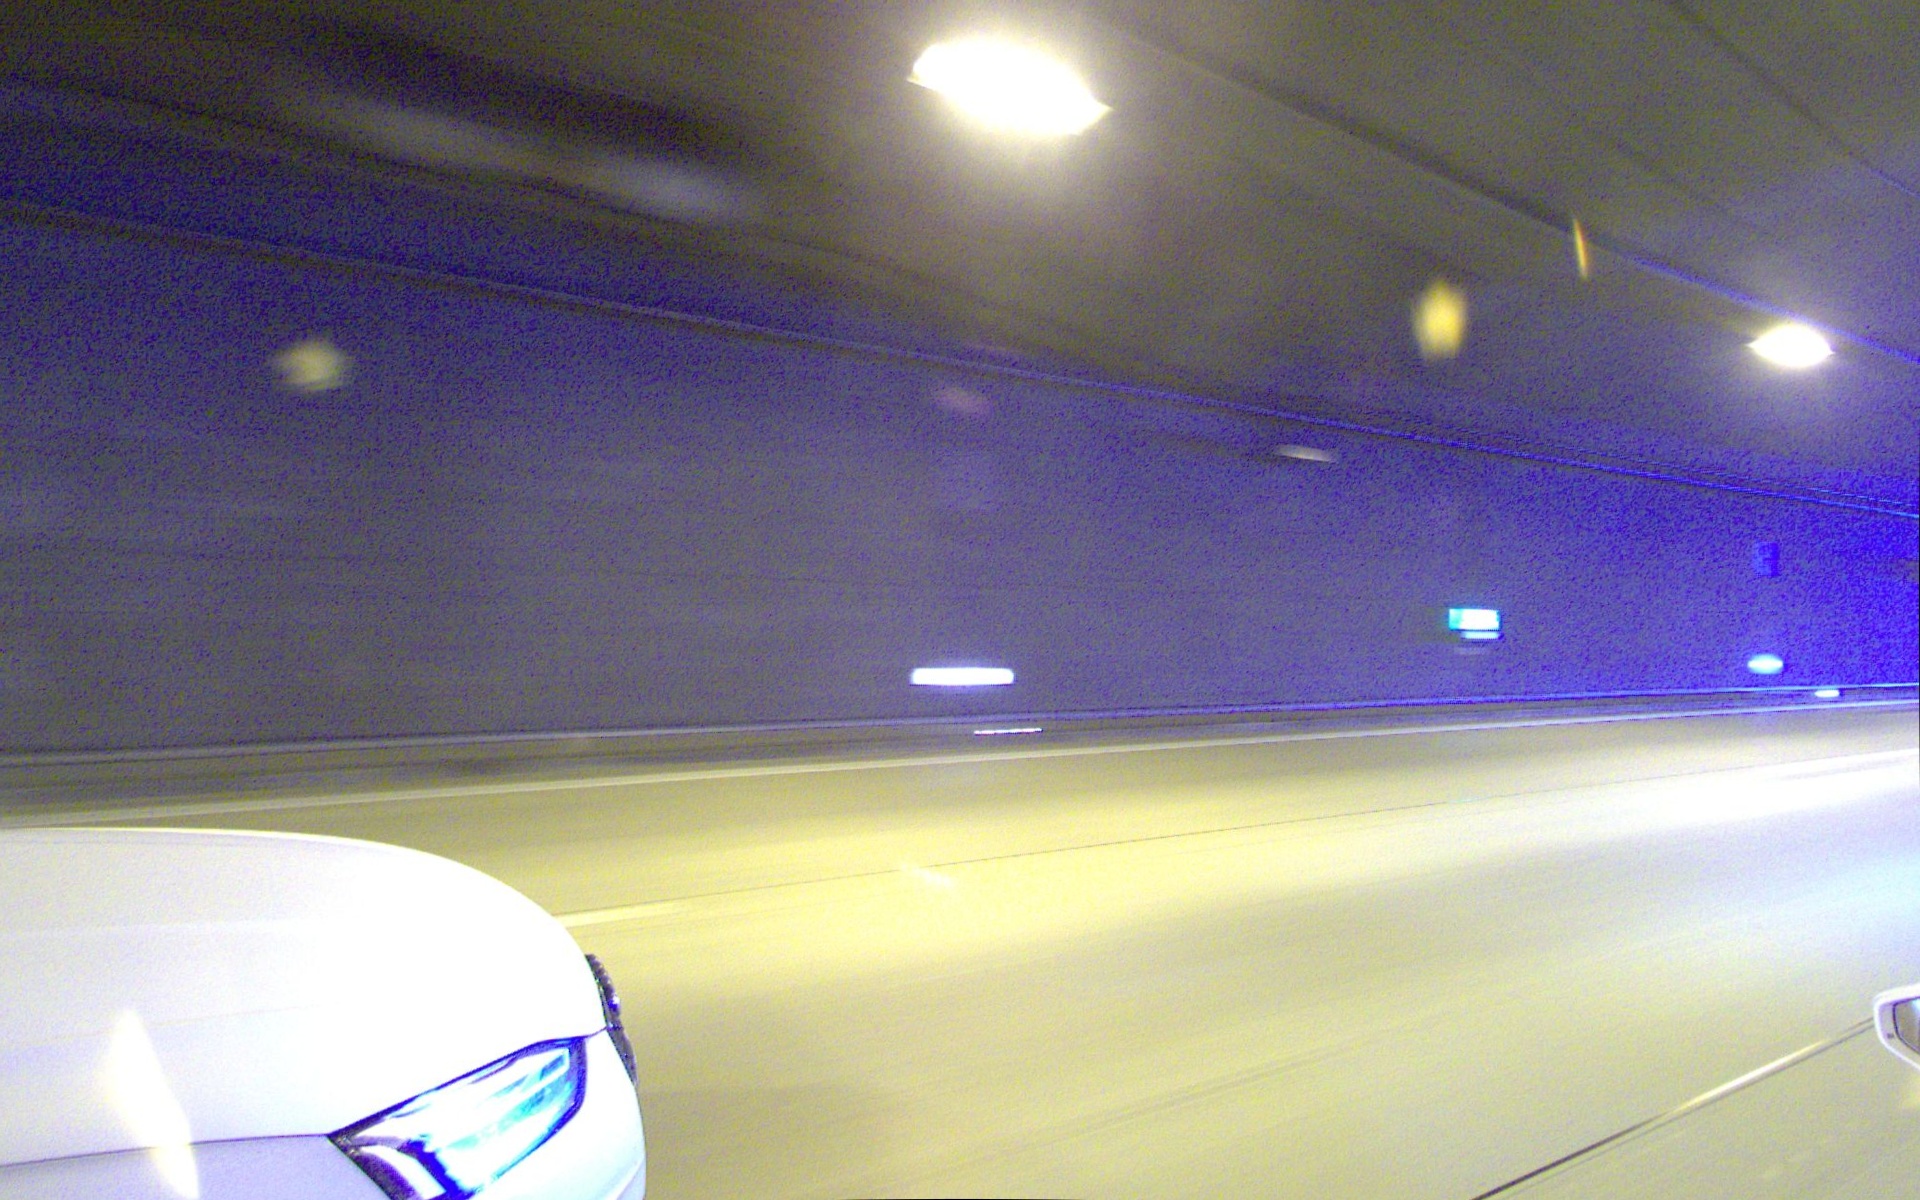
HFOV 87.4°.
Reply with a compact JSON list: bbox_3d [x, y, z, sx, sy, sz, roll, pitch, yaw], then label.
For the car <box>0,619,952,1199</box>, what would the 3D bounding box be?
[{"bbox_3d":[-2.602,0.724,1.106,5.001,1.437,1.694,2,-1,-30],"label":"car"}]
